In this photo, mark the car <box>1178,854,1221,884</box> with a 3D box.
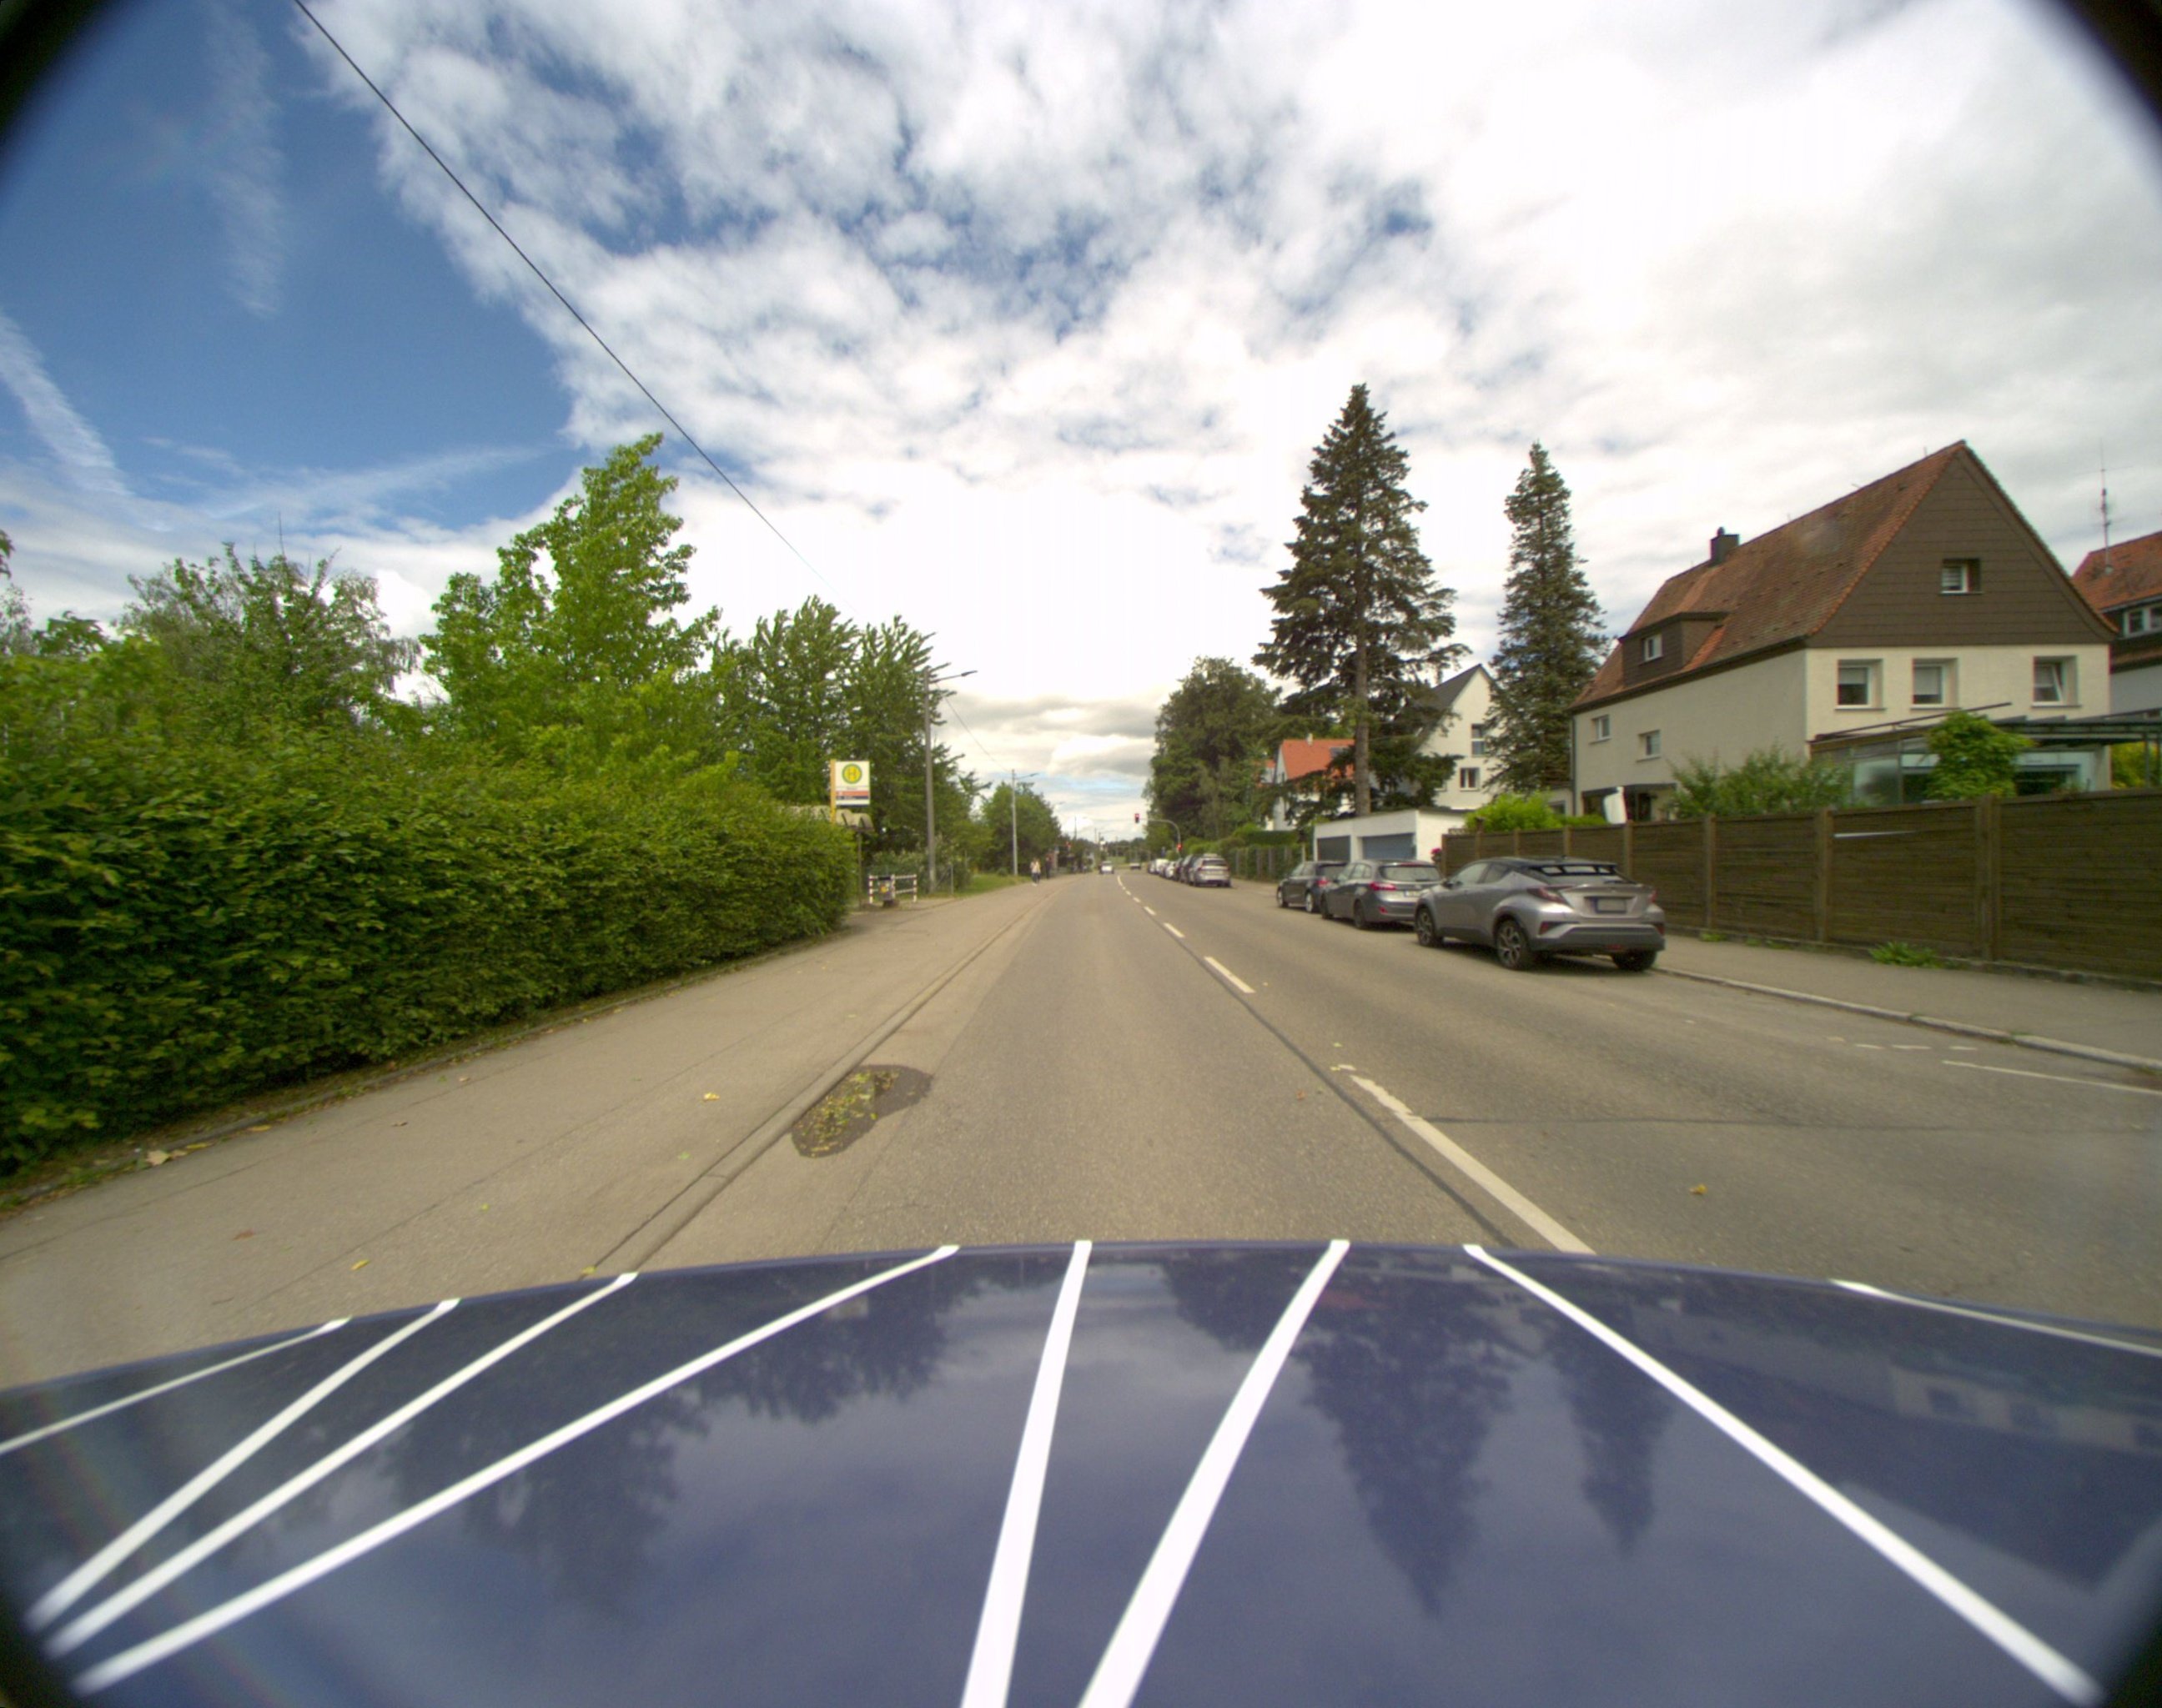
[{"bbox_3d":[7.538,0.934,48.836,2.072,1.744,4.884,-2,0,1],"label":"car"}]

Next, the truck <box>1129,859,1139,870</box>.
[{"bbox_3d":[11.301,2.215,161.733,2.194,2.357,6.907,0,-1,4],"label":"truck"}]

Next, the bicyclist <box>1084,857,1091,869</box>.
[{"bbox_3d":[0.775,1.126,97.293,0.826,1.529,0.862,-2,0,1],"label":"bicyclist"}]

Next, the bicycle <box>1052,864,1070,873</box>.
[{"bbox_3d":[-2.525,1.849,96.724,2.093,1.041,0.559,-3,0,6],"label":"bicycle"}]

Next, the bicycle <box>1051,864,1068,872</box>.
[{"bbox_3d":[-2.746,1.776,95.329,2.092,1.074,0.547,0,0,6],"label":"bicycle"}]

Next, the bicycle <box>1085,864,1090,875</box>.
[{"bbox_3d":[0.826,1.966,97.217,0.451,1.278,2.208,-2,0,-1],"label":"bicycle"}]

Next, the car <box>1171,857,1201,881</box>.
[{"bbox_3d":[7.539,1.073,54.841,1.630,1.668,4.585,1,-1,2],"label":"car"}]

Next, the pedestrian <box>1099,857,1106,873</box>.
[{"bbox_3d":[2.321,1.187,81.307,0.649,1.654,0.708,-2,0,5],"label":"pedestrian"}]

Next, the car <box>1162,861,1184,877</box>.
[{"bbox_3d":[8.127,1.304,67.238,1.746,1.402,4.325,1,-1,4],"label":"car"}]

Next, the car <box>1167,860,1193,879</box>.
[{"bbox_3d":[7.963,1.220,61.519,1.809,1.450,5.071,1,-1,4],"label":"car"}]

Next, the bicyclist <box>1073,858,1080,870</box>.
[{"bbox_3d":[-0.567,1.234,96.727,0.826,1.529,0.862,-1,0,3],"label":"bicyclist"}]

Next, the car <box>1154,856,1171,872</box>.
[{"bbox_3d":[9.381,1.183,87.880,1.680,1.748,4.609,1,-1,3],"label":"car"}]

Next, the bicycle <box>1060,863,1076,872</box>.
[{"bbox_3d":[-1.742,1.835,102.766,2.093,1.144,0.530,-2,0,1],"label":"bicycle"}]

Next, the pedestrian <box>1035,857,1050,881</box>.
[{"bbox_3d":[-2.636,1.020,52.469,0.841,1.649,0.766,-2,0,7],"label":"pedestrian"}]

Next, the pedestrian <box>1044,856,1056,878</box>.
[{"bbox_3d":[-2.611,1.101,64.145,0.746,1.871,0.802,-2,0,9],"label":"pedestrian"}]

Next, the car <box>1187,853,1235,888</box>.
[{"bbox_3d":[7.204,0.899,42.613,1.989,1.808,4.708,-1,-1,2],"label":"car"}]

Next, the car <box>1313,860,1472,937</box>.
[{"bbox_3d":[6.689,0.880,16.908,1.871,1.450,4.489,-1,0,3],"label":"car"}]

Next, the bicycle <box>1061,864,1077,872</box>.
[{"bbox_3d":[-1.668,1.931,103.757,2.206,1.041,0.451,-1,0,2],"label":"bicycle"}]

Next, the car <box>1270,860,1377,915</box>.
[{"bbox_3d":[6.845,0.905,21.873,1.656,1.418,3.905,0,-1,-3],"label":"car"}]

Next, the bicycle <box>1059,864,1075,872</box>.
[{"bbox_3d":[-1.920,1.839,101.988,2.090,1.041,0.451,0,1,24],"label":"bicycle"}]

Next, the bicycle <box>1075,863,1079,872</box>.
[{"bbox_3d":[-0.502,1.678,96.702,0.451,1.142,2.208,-1,0,3],"label":"bicycle"}]

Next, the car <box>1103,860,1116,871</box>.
[{"bbox_3d":[3.657,1.437,97.268,1.665,1.394,3.901,-1,-1,3],"label":"car"}]

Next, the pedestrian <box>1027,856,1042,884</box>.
[{"bbox_3d":[-2.832,0.977,46.224,0.687,1.649,0.690,-2,0,7],"label":"pedestrian"}]

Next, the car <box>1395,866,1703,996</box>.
[{"bbox_3d":[6.586,0.963,11.483,1.998,1.471,4.648,0,0,3],"label":"car"}]

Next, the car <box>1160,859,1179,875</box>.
[{"bbox_3d":[8.472,1.248,72.869,1.706,1.534,3.744,1,0,4],"label":"car"}]

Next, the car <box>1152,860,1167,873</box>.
[{"bbox_3d":[9.662,1.511,93.008,1.708,1.444,4.360,2,0,7],"label":"car"}]
